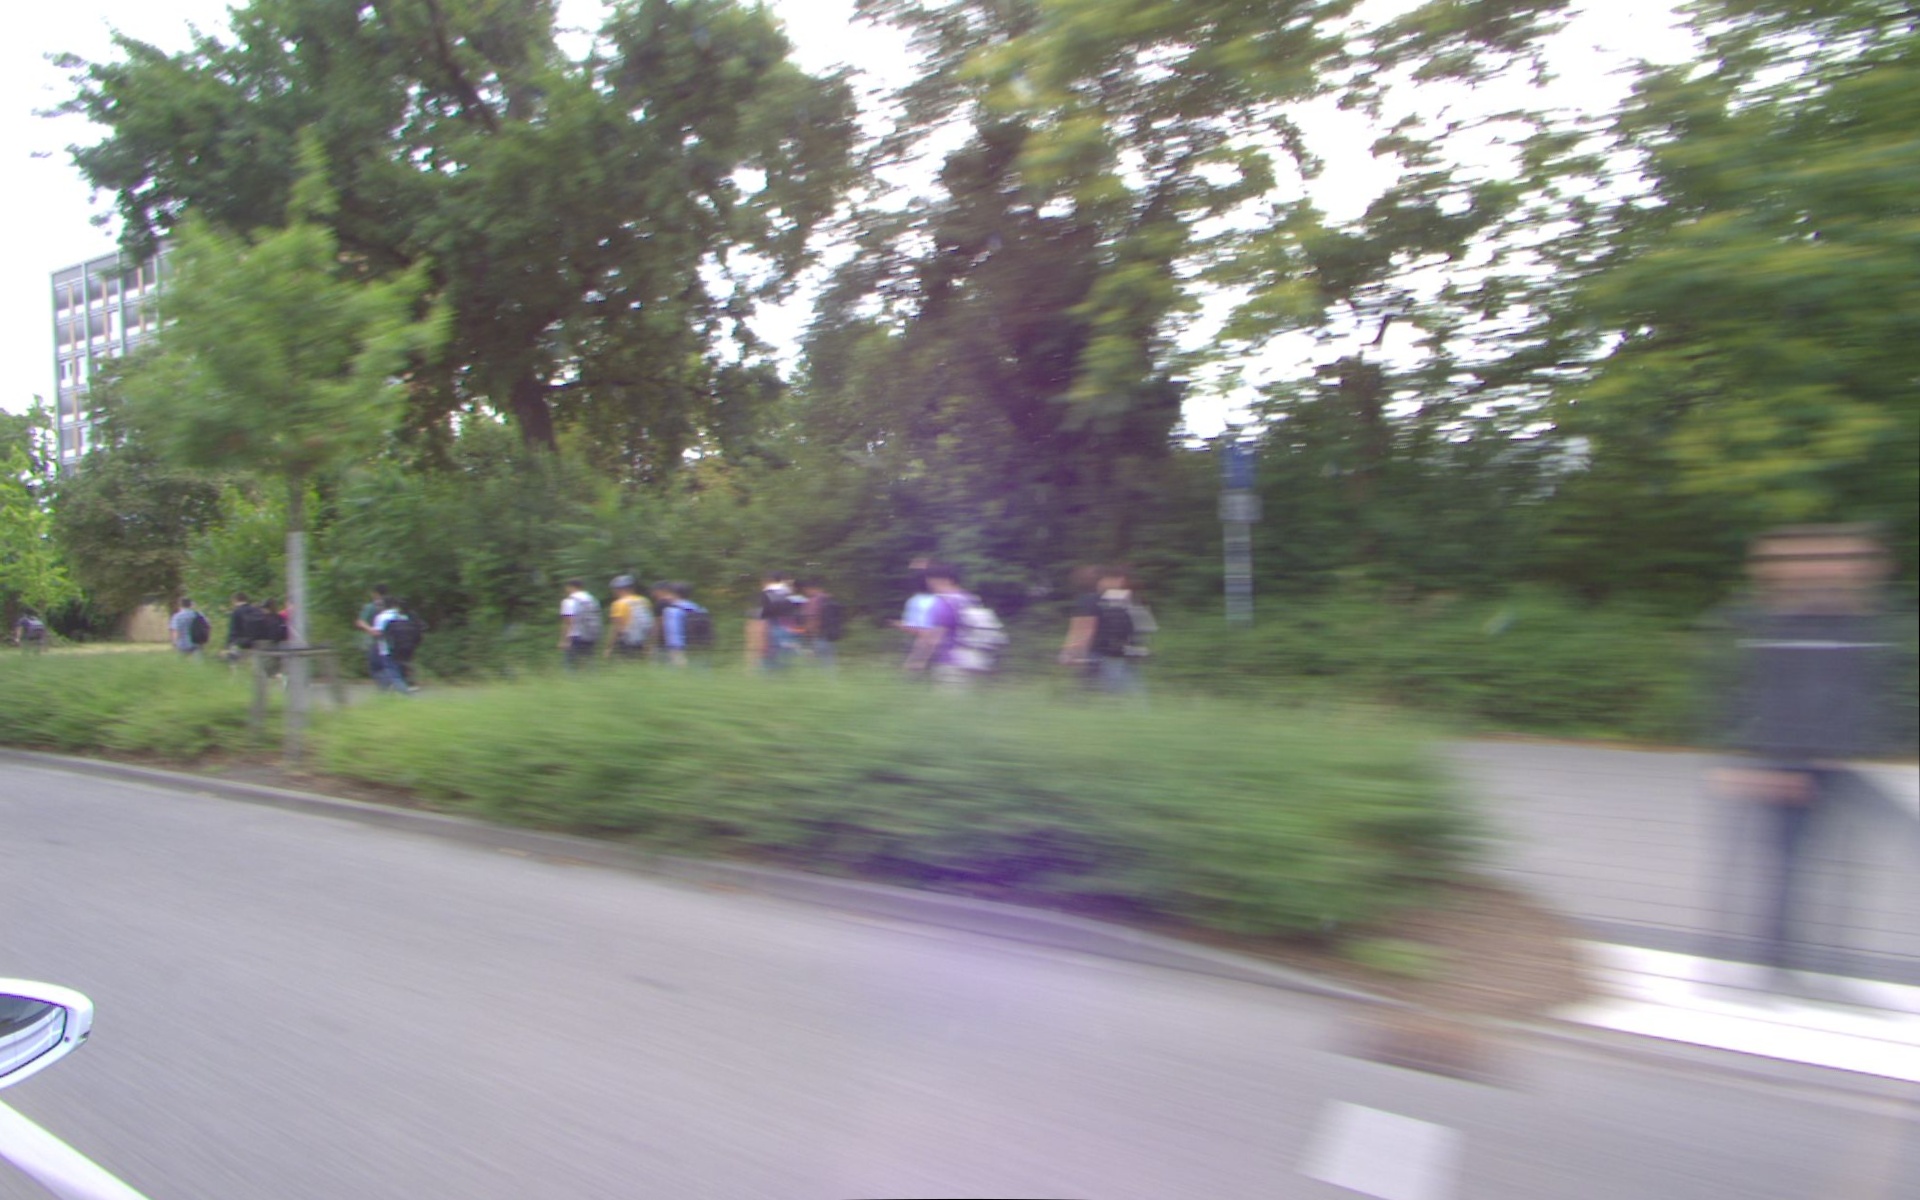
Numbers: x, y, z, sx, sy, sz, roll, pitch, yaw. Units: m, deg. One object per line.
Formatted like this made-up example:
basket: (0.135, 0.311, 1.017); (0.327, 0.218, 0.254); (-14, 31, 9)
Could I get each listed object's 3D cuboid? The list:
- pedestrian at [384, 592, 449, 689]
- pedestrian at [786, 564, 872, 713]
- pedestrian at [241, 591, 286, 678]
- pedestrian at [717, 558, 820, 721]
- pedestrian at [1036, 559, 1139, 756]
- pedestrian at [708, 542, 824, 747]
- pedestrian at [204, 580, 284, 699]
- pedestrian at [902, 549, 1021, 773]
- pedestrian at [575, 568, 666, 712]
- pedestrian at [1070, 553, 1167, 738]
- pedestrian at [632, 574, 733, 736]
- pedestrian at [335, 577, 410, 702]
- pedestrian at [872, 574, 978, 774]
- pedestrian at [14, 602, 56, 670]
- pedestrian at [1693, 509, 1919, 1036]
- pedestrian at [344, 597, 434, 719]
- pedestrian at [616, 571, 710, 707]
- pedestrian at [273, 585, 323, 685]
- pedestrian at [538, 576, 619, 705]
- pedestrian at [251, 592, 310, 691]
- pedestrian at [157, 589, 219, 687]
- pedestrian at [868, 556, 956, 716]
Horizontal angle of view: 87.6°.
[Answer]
pedestrian: (-9.170, 0.668, 16.911); (0.774, 1.605, 0.634); (0, 1, 31)
pedestrian: (-1.561, 0.444, 11.994); (0.768, 1.722, 0.656); (0, 1, 28)
pedestrian: (-13.601, 0.667, 19.556); (0.643, 1.655, 0.467); (0, 1, 31)
pedestrian: (-2.206, 0.439, 11.547); (0.943, 1.790, 0.656); (0, 1, 29)
pedestrian: (1.213, 0.517, 9.462); (0.768, 1.768, 0.656); (0, 1, 28)
pedestrian: (-1.757, 0.387, 9.099); (0.768, 1.768, 0.656); (0, 1, 28)
pedestrian: (-11.466, 0.621, 16.037); (0.940, 1.845, 0.691); (0, 1, 31)
pedestrian: (0.018, 0.485, 8.356); (0.768, 1.768, 0.623); (0, 1, 28)
pedestrian: (-4.182, 0.478, 12.345); (0.829, 1.712, 0.656); (0, 1, 28)
pedestrian: (1.597, 0.437, 10.054); (0.768, 1.768, 0.656); (0, 1, 28)
pedestrian: (-2.986, 0.571, 10.792); (0.800, 1.670, 0.656); (0, 1, 28)
pedestrian: (-8.938, 0.586, 15.243); (0.800, 1.845, 0.655); (0, 1, 31)
pedestrian: (-0.317, 0.656, 9.289); (0.777, 1.768, 0.580); (0, 1, 29)
pedestrian: (-23.882, 0.918, 25.848); (0.737, 1.705, 0.586); (0, 1, 31)
pedestrian: (3.157, 0.580, 3.694); (0.644, 1.758, 0.600); (0, 1, 28)
pedestrian: (-7.946, 0.783, 13.944); (0.800, 1.624, 0.774); (0, 1, 31)
pedestrian: (-3.852, 0.491, 12.994); (0.956, 1.689, 0.656); (0, 1, 29)
pedestrian: (-12.038, 0.631, 18.210); (0.654, 1.787, 0.483); (0, 1, 31)
pedestrian: (-5.428, 0.560, 14.255); (0.800, 1.768, 0.720); (0, 1, 31)
pedestrian: (-11.818, 0.703, 17.422); (0.742, 1.677, 0.554); (0, 1, 31)
pedestrian: (-14.190, 0.685, 18.397); (0.802, 1.758, 0.618); (0, 1, 31)
pedestrian: (-0.548, 0.403, 11.557); (0.768, 1.768, 0.656); (0, 1, 28)
